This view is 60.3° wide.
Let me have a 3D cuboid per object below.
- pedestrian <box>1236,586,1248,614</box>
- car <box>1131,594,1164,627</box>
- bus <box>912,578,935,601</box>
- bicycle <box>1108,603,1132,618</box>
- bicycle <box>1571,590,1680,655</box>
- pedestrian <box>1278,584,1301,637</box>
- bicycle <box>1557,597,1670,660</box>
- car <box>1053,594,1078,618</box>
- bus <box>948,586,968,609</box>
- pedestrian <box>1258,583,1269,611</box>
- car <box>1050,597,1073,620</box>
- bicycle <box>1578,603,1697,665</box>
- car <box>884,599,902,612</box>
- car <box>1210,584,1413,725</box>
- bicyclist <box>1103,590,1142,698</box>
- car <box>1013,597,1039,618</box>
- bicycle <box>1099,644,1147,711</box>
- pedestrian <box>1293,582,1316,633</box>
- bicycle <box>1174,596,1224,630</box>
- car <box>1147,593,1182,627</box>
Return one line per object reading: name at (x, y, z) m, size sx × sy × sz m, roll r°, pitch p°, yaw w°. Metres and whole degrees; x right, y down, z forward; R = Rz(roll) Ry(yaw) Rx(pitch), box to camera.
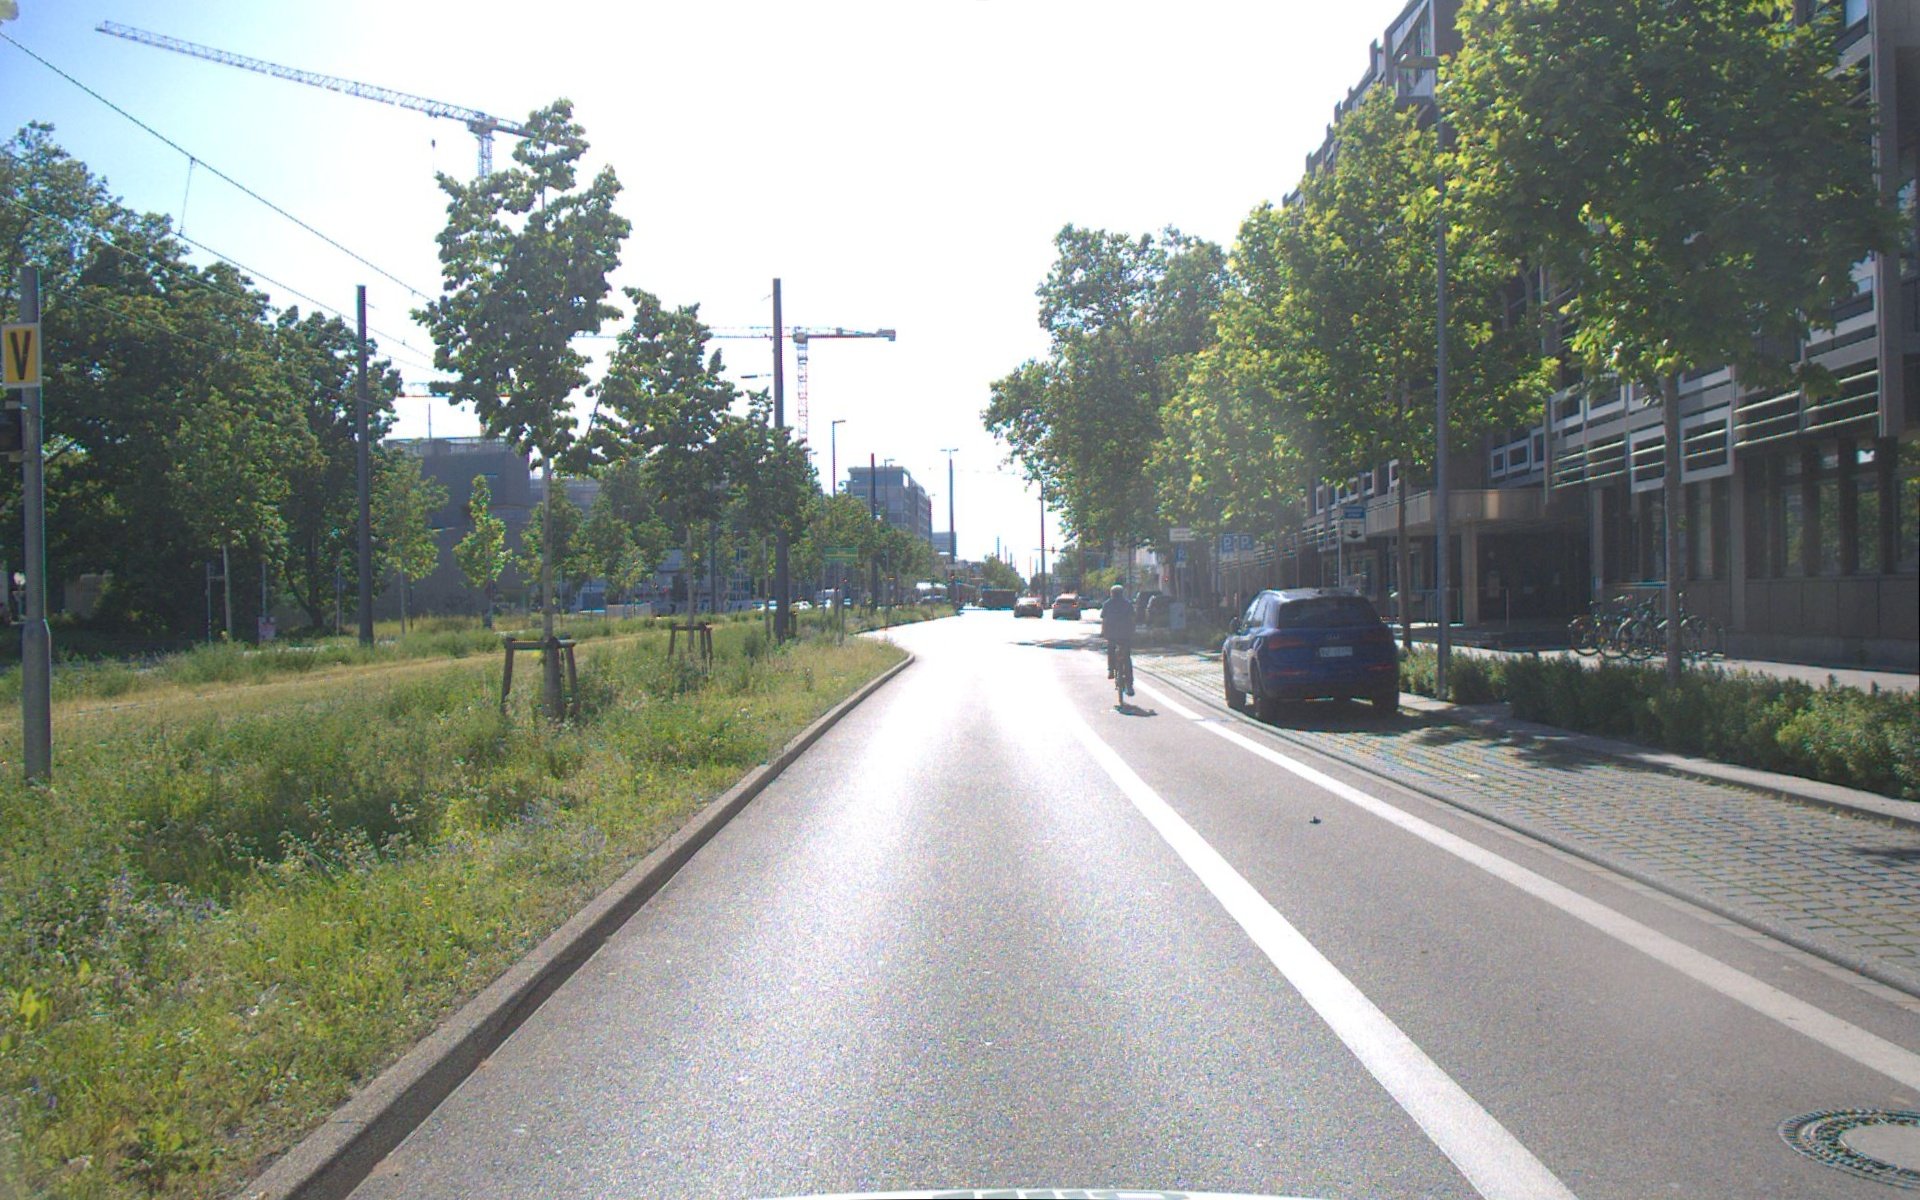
pedestrian at (16.311, 0.015, 95.613) m, size 0.495 × 1.612 × 0.634 m, roll -1°, pitch 0°, yaw -5°
car at (11.058, 0.595, 97.693) m, size 1.668 × 1.821 × 4.194 m, roll -3°, pitch 0°, yaw 4°
bus at (-4.750, -1.331, 215.716) m, size 2.573 × 2.832 × 8.845 m, roll 1°, pitch -1°, yaw 1°
bicycle at (11.498, 0.768, 118.682) m, size 1.659 × 0.974 × 0.478 m, roll -2°, pitch 0°, yaw -1°
bicycle at (12.594, 0.432, 31.307) m, size 1.819 × 1.117 × 0.427 m, roll -3°, pitch 0°, yaw 5°
pedestrian at (11.141, 0.352, 55.943) m, size 0.634 × 1.758 × 0.803 m, roll -1°, pitch 0°, yaw 3°
bicycle at (11.916, 0.518, 30.185) m, size 1.819 × 1.028 × 0.427 m, roll -3°, pitch 0°, yaw 5°
car at (7.620, 0.437, 119.361) m, size 1.685 × 1.646 × 4.189 m, roll -1°, pitch 0°, yaw 5°
bus at (-0.272, -0.350, 231.975) m, size 2.573 × 3.011 × 9.899 m, roll 1°, pitch -1°, yaw 1°
pedestrian at (17.572, -0.158, 95.762) m, size 0.541 × 1.631 × 0.573 m, roll -1°, pitch 0°, yaw 4°
car at (8.141, 0.678, 132.831) m, size 1.686 × 1.814 × 4.187 m, roll -1°, pitch 0°, yaw 2°
bicycle at (11.774, 0.588, 28.758) m, size 1.819 × 0.955 × 0.427 m, roll -3°, pitch 0°, yaw 5°
car at (-6.249, 0.543, 154.943) m, size 1.347 × 1.199 × 3.221 m, roll 1°, pitch -1°, yaw 3°
car at (4.774, 0.680, 23.166) m, size 1.811 × 1.685 × 4.849 m, roll -3°, pitch 0°, yaw 1°
bicyclist at (2.486, 0.668, 25.320) m, size 0.502 × 1.629 × 0.536 m, roll -1°, pitch 0°, yaw -1°
car at (4.925, 0.570, 123.128) m, size 1.872 × 1.512 × 4.011 m, roll -1°, pitch 0°, yaw 3°
bicycle at (2.484, 1.169, 25.394) m, size 0.487 × 0.921 × 2.196 m, roll 1°, pitch 0°, yaw -1°
pedestrian at (10.340, 0.221, 49.676) m, size 0.500 × 1.500 × 0.736 m, roll -3°, pitch 0°, yaw 3°
bicycle at (9.810, 0.535, 67.875) m, size 1.897 × 1.258 × 0.579 m, roll -4°, pitch 0°, yaw 1°
car at (10.641, 0.509, 86.379) m, size 1.668 × 1.672 × 4.639 m, roll -1°, pitch 0°, yaw 6°
